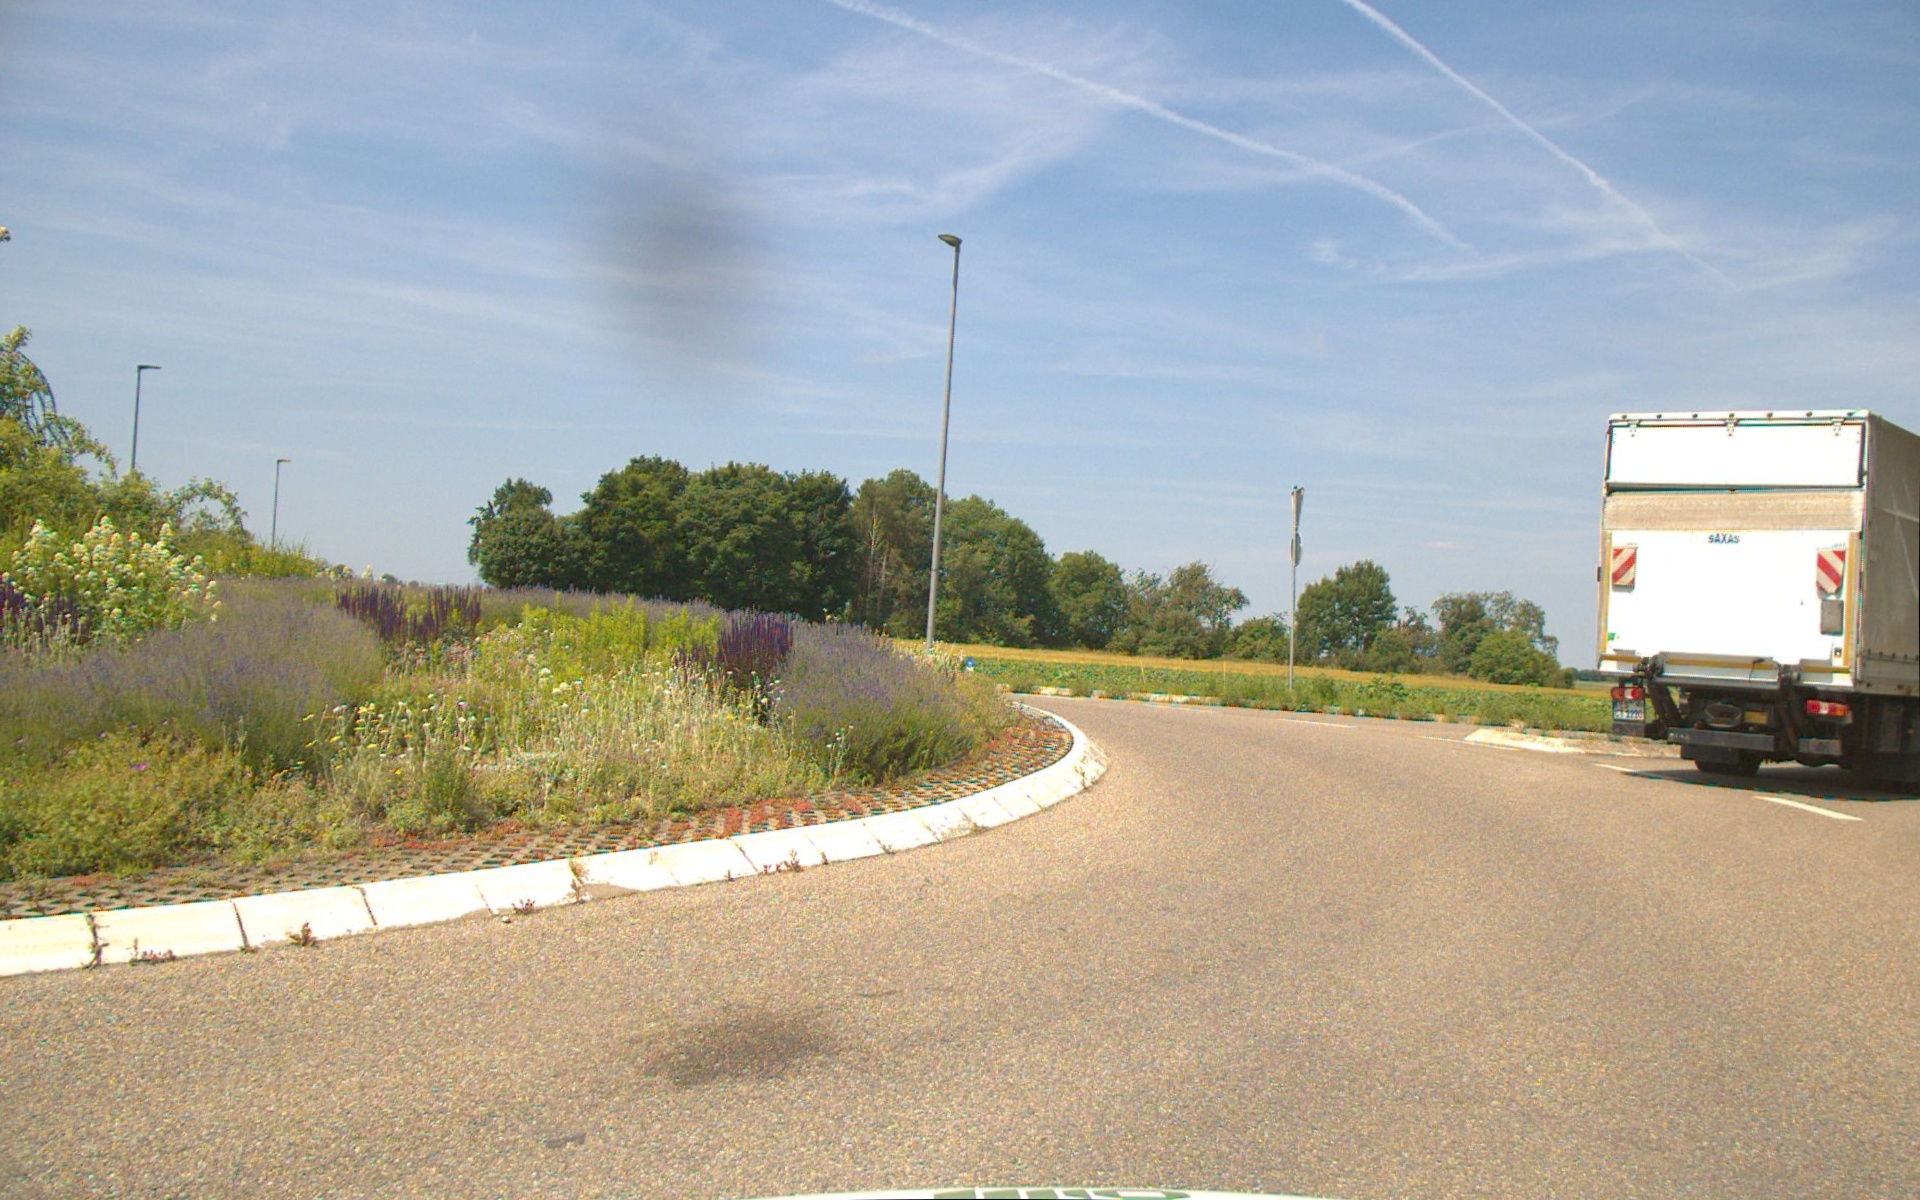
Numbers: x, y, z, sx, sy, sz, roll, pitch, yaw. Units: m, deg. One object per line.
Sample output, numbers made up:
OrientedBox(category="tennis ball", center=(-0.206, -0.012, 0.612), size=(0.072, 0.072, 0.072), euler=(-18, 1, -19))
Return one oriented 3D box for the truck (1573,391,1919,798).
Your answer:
OrientedBox(category="truck", center=(10.650, 0.110, 19.454), size=(2.730, 3.734, 9.314), euler=(3, 0, 45))
